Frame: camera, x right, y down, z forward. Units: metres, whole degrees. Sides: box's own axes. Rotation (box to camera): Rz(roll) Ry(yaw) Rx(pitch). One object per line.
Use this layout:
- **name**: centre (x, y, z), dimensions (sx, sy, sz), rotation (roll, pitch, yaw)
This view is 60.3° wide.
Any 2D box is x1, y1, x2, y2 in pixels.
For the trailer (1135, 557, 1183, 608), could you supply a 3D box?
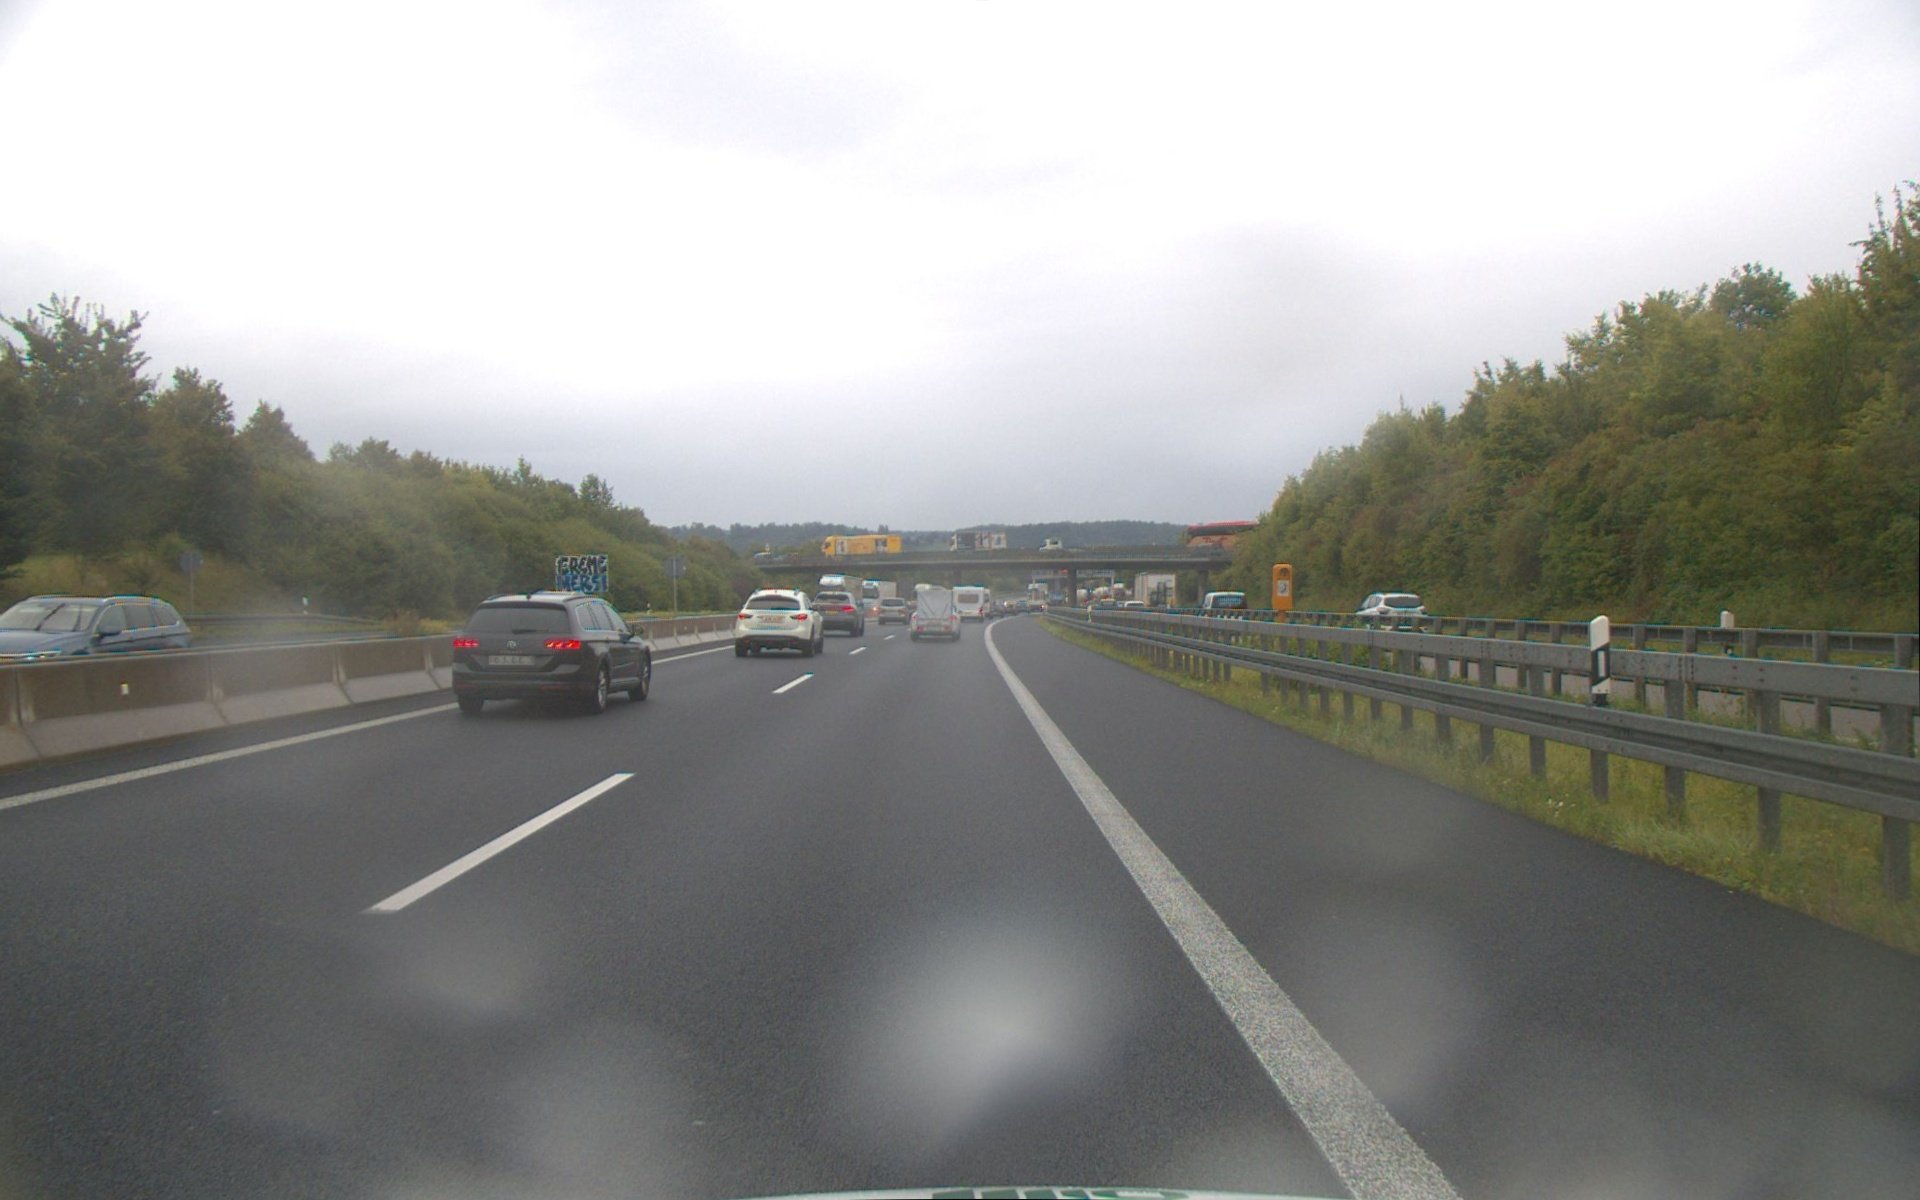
- **trailer**: centre (17.578, -1.563, 146.569), dimensions (3.366, 4.364, 10.457), rotation (0, 0, 2)

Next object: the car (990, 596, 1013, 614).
- **car**: centre (4.213, 0.529, 167.842), dimensions (1.954, 1.780, 3.997), rotation (1, 0, -4)

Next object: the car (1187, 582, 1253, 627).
- **car**: centre (11.164, 0.181, 71.299), dimensions (1.968, 1.846, 4.273), rotation (0, 0, -3)

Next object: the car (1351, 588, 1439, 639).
- **car**: centre (14.665, 0.433, 55.997), dimensions (1.858, 1.641, 4.145), rotation (0, 0, -1)

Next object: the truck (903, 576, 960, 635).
- **truck**: centre (-1.025, 0.159, 60.640), dimensions (1.978, 2.020, 7.212), rotation (0, 0, -1)

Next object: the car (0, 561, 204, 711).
- **car**: centre (-12.602, 0.455, 23.437), dimensions (1.953, 1.935, 4.171), rotation (1, 0, -2)

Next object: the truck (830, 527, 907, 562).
- **truck**: centre (-13.838, -8.290, 248.316), dimensions (3.741, 4.920, 15.034), rotation (0, 0, -38)

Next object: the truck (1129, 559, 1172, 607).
- **truck**: centre (17.993, -1.614, 156.989), dimensions (3.365, 4.364, 10.422), rotation (0, 0, 3)

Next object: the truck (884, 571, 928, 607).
- **truck**: centre (-5.498, -1.101, 170.617), dimensions (3.688, 3.616, 13.190), rotation (0, 0, 2)

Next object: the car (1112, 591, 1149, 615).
- **car**: centre (11.567, 0.168, 112.286), dimensions (1.967, 1.575, 4.695), rotation (0, 0, -1)

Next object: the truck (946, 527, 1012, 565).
- **truck**: centre (2.531, -7.279, 226.626), dimensions (3.741, 4.920, 9.905), rotation (0, 0, -38)

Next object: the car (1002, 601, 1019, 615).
- **car**: centre (6.317, 1.007, 208.030), dimensions (1.953, 1.780, 4.000), rotation (1, 0, 0)

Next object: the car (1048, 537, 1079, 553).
- **car**: centre (13.213, -6.988, 211.686), dimensions (1.825, 1.948, 3.943), rotation (1, 0, -39)

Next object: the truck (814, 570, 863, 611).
- **truck**: centre (-12.664, -0.980, 173.603), dimensions (3.688, 4.062, 13.190), rotation (0, 0, 2)

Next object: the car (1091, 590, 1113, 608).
- **car**: centre (14.126, -0.102, 165.027), dimensions (1.821, 1.836, 4.648), rotation (0, 0, 1)

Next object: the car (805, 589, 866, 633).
- **car**: centre (-4.835, 0.392, 64.976), dimensions (2.130, 1.660, 4.499), rotation (0, 0, -1)

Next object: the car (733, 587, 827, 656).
- **car**: centre (-4.508, 0.508, 41.981), dimensions (1.936, 1.668, 4.500), rotation (0, 0, -1)

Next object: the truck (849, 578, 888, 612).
- **truck**: centre (-11.220, -0.602, 204.290), dimensions (3.688, 4.062, 13.190), rotation (0, 0, 2)

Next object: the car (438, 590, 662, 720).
- **car**: centre (-5.260, 0.657, 21.892), dimensions (1.862, 1.523, 4.850), rotation (0, 0, -1)

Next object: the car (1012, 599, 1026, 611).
- **car**: centre (8.537, 0.706, 240.114), dimensions (1.952, 1.780, 4.000), rotation (1, 0, 1)

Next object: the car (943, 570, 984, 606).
- **car**: centre (0.259, -0.903, 122.854), dimensions (2.955, 2.662, 6.075), rotation (0, 1, 0)

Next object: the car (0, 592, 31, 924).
- **car**: centre (-5.036, 0.699, 5.100), dimensions (1.862, 1.430, 4.459), rotation (0, 0, -1)

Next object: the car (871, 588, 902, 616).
- **car**: centre (-4.411, 0.111, 99.555), dimensions (1.862, 1.641, 4.015), rotation (0, 0, -3)

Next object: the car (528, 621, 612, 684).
- **car**: centre (-13.014, 1.714, 55.431), dimensions (1.953, 1.935, 4.171), rotation (1, 0, -2)
